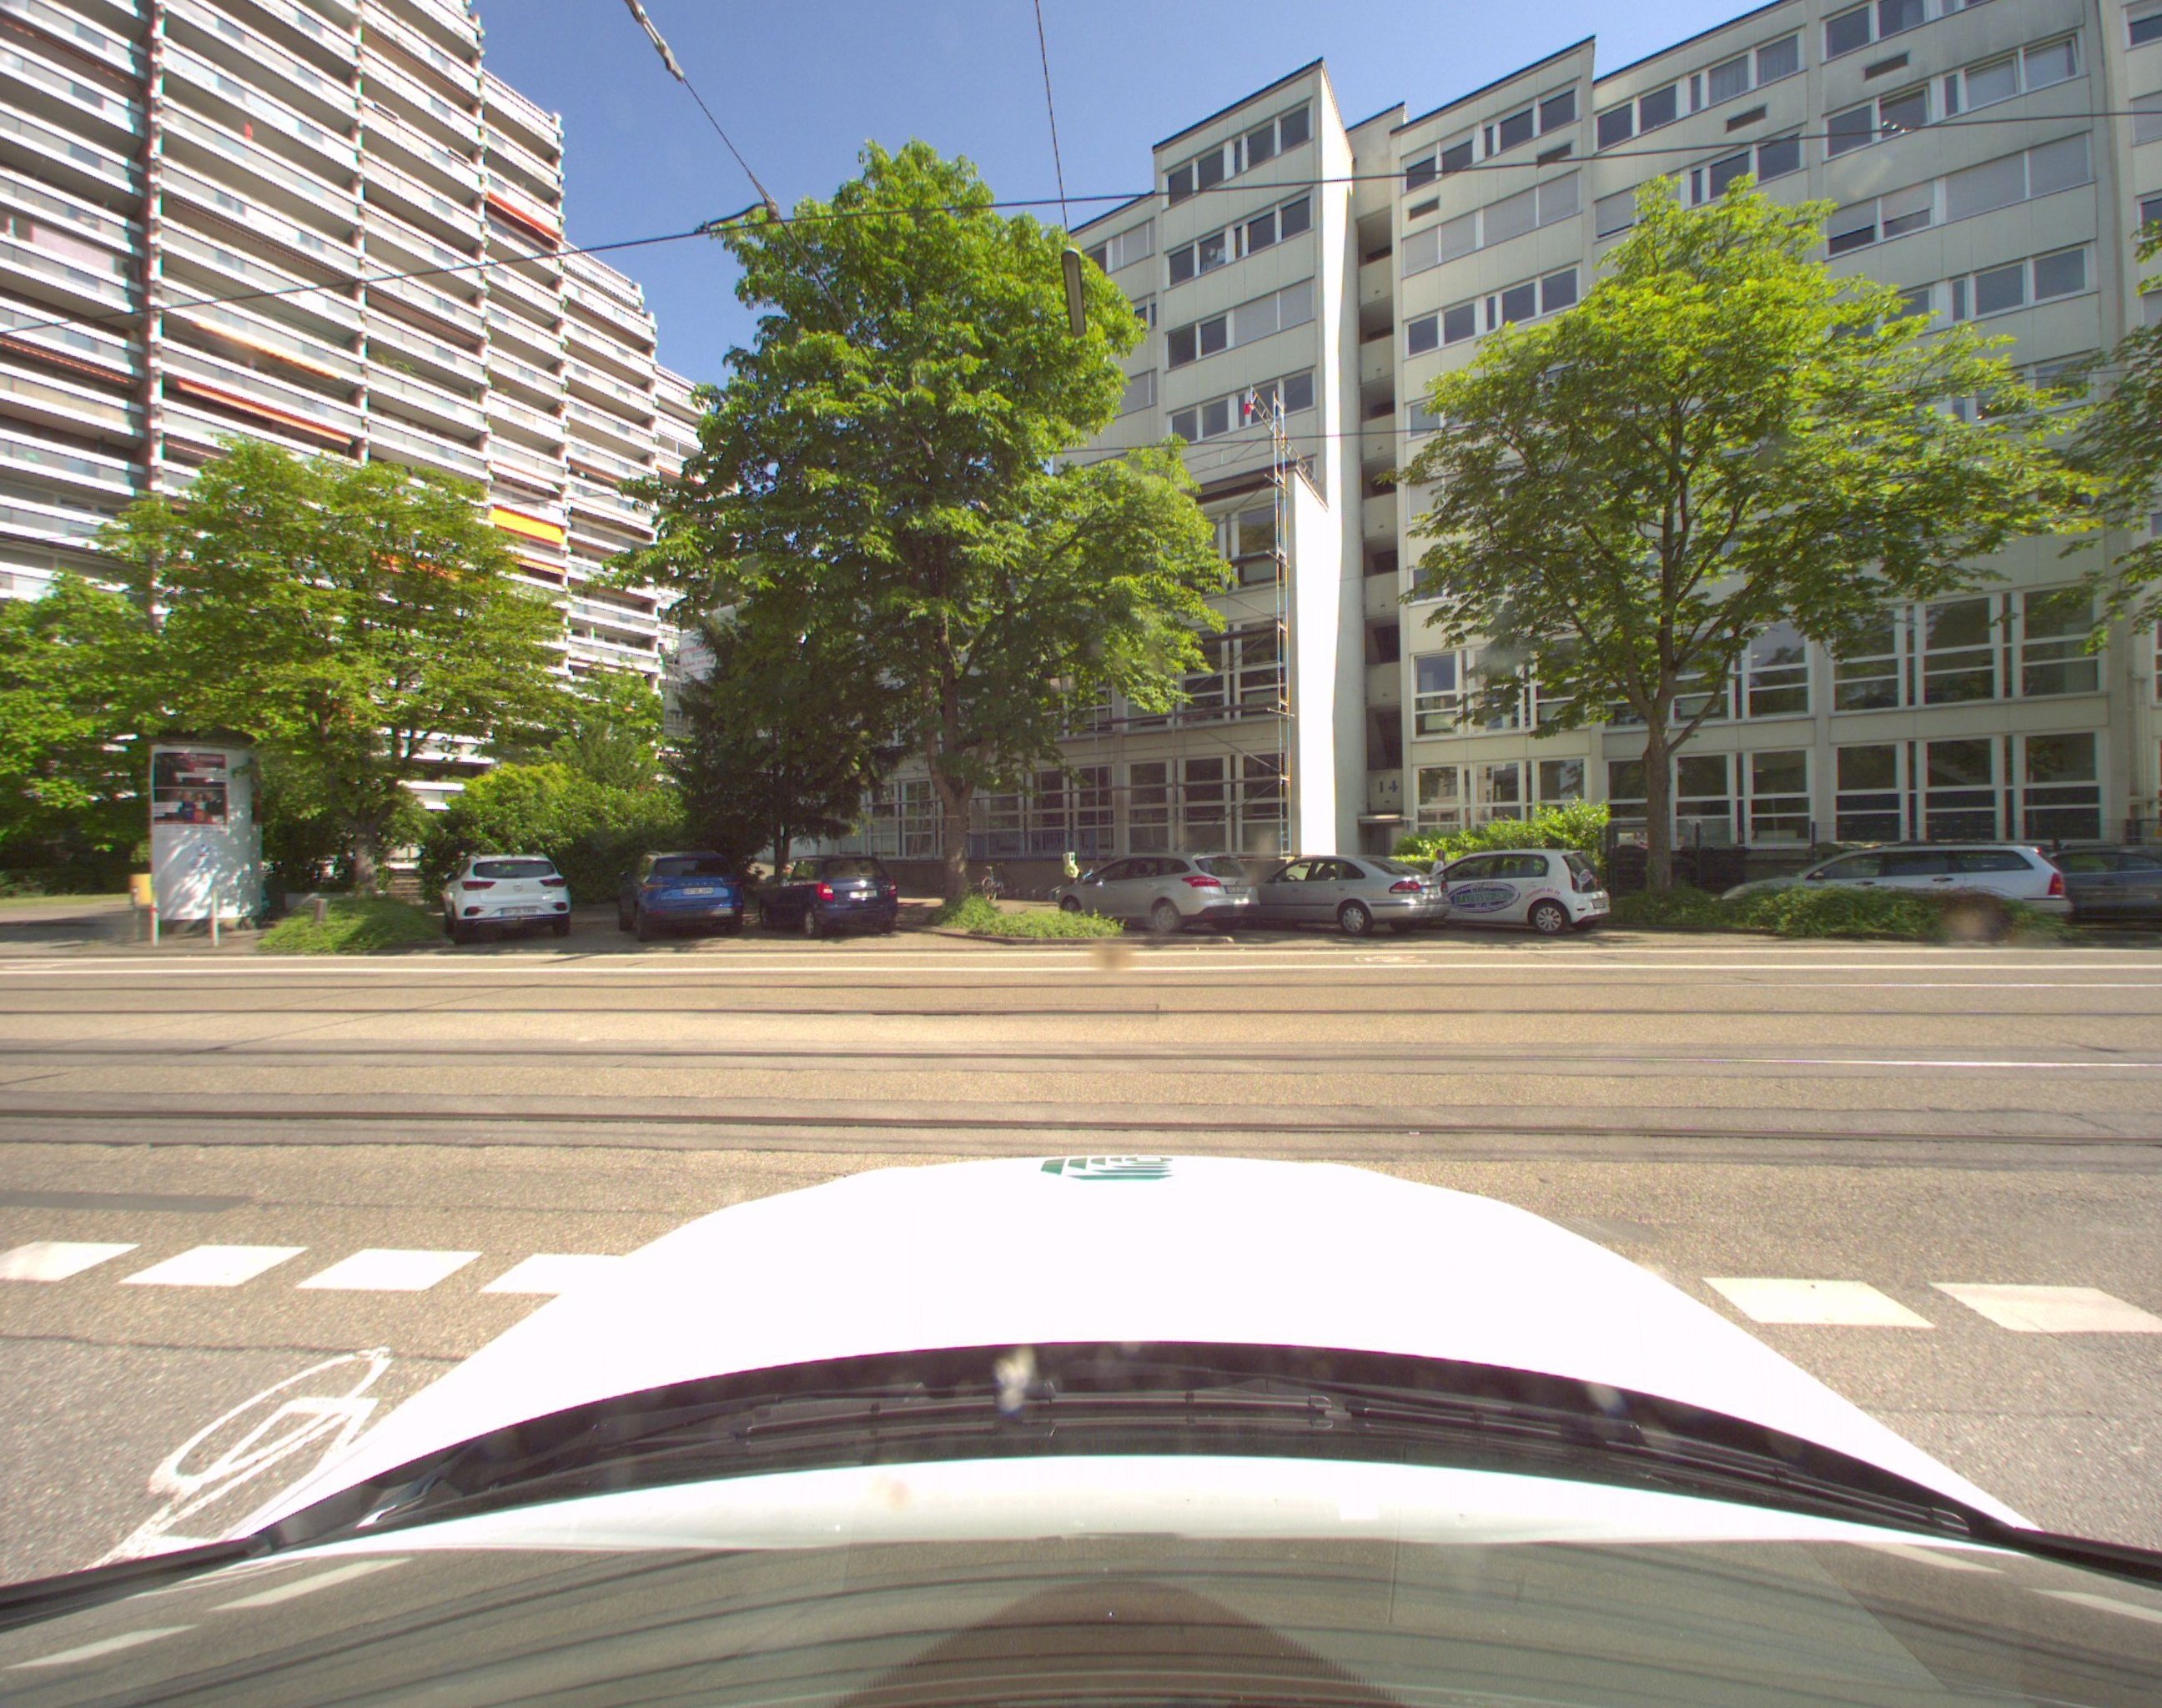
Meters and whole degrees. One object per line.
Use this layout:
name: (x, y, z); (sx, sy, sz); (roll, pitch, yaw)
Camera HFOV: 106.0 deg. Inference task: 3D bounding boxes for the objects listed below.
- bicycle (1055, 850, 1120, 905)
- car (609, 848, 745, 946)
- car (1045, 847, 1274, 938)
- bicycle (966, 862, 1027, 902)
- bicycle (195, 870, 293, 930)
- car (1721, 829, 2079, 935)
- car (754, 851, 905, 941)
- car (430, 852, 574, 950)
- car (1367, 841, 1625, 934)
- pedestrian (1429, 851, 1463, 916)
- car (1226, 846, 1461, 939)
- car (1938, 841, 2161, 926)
bicycle: (0.213, 0.621, 22.376); (0.655, 1.453, 2.103); (-1, -1, 36)
car: (-8.042, 0.720, 16.027); (1.788, 1.622, 3.902); (-1, 1, -35)
car: (1.354, 0.667, 15.712); (1.794, 1.486, 4.383); (0, -1, -40)
bicycle: (-2.400, 0.799, 23.526); (0.734, 1.086, 2.215); (-1, -1, 24)
bicycle: (-18.755, 1.018, 18.263); (1.611, 1.309, 0.547); (-1, -1, -1)
car: (14.252, 0.473, 14.481); (1.567, 1.604, 4.291); (1, -2, -43)
car: (-4.955, 0.748, 15.807); (1.584, 1.531, 3.417); (0, -1, -40)
car: (-11.495, 0.839, 16.075); (1.830, 1.606, 3.897); (-3, 1, -42)
car: (7.541, 0.598, 15.113); (1.621, 1.486, 3.899); (0, -2, -39)
pedestrian: (8.311, 0.673, 18.567); (0.615, 1.461, 0.426); (-1, -1, 13)
car: (4.724, 0.643, 15.123); (1.621, 1.486, 3.900); (0, -1, -38)
car: (17.539, 0.472, 13.905); (1.566, 1.357, 3.899); (0, -1, -40)
